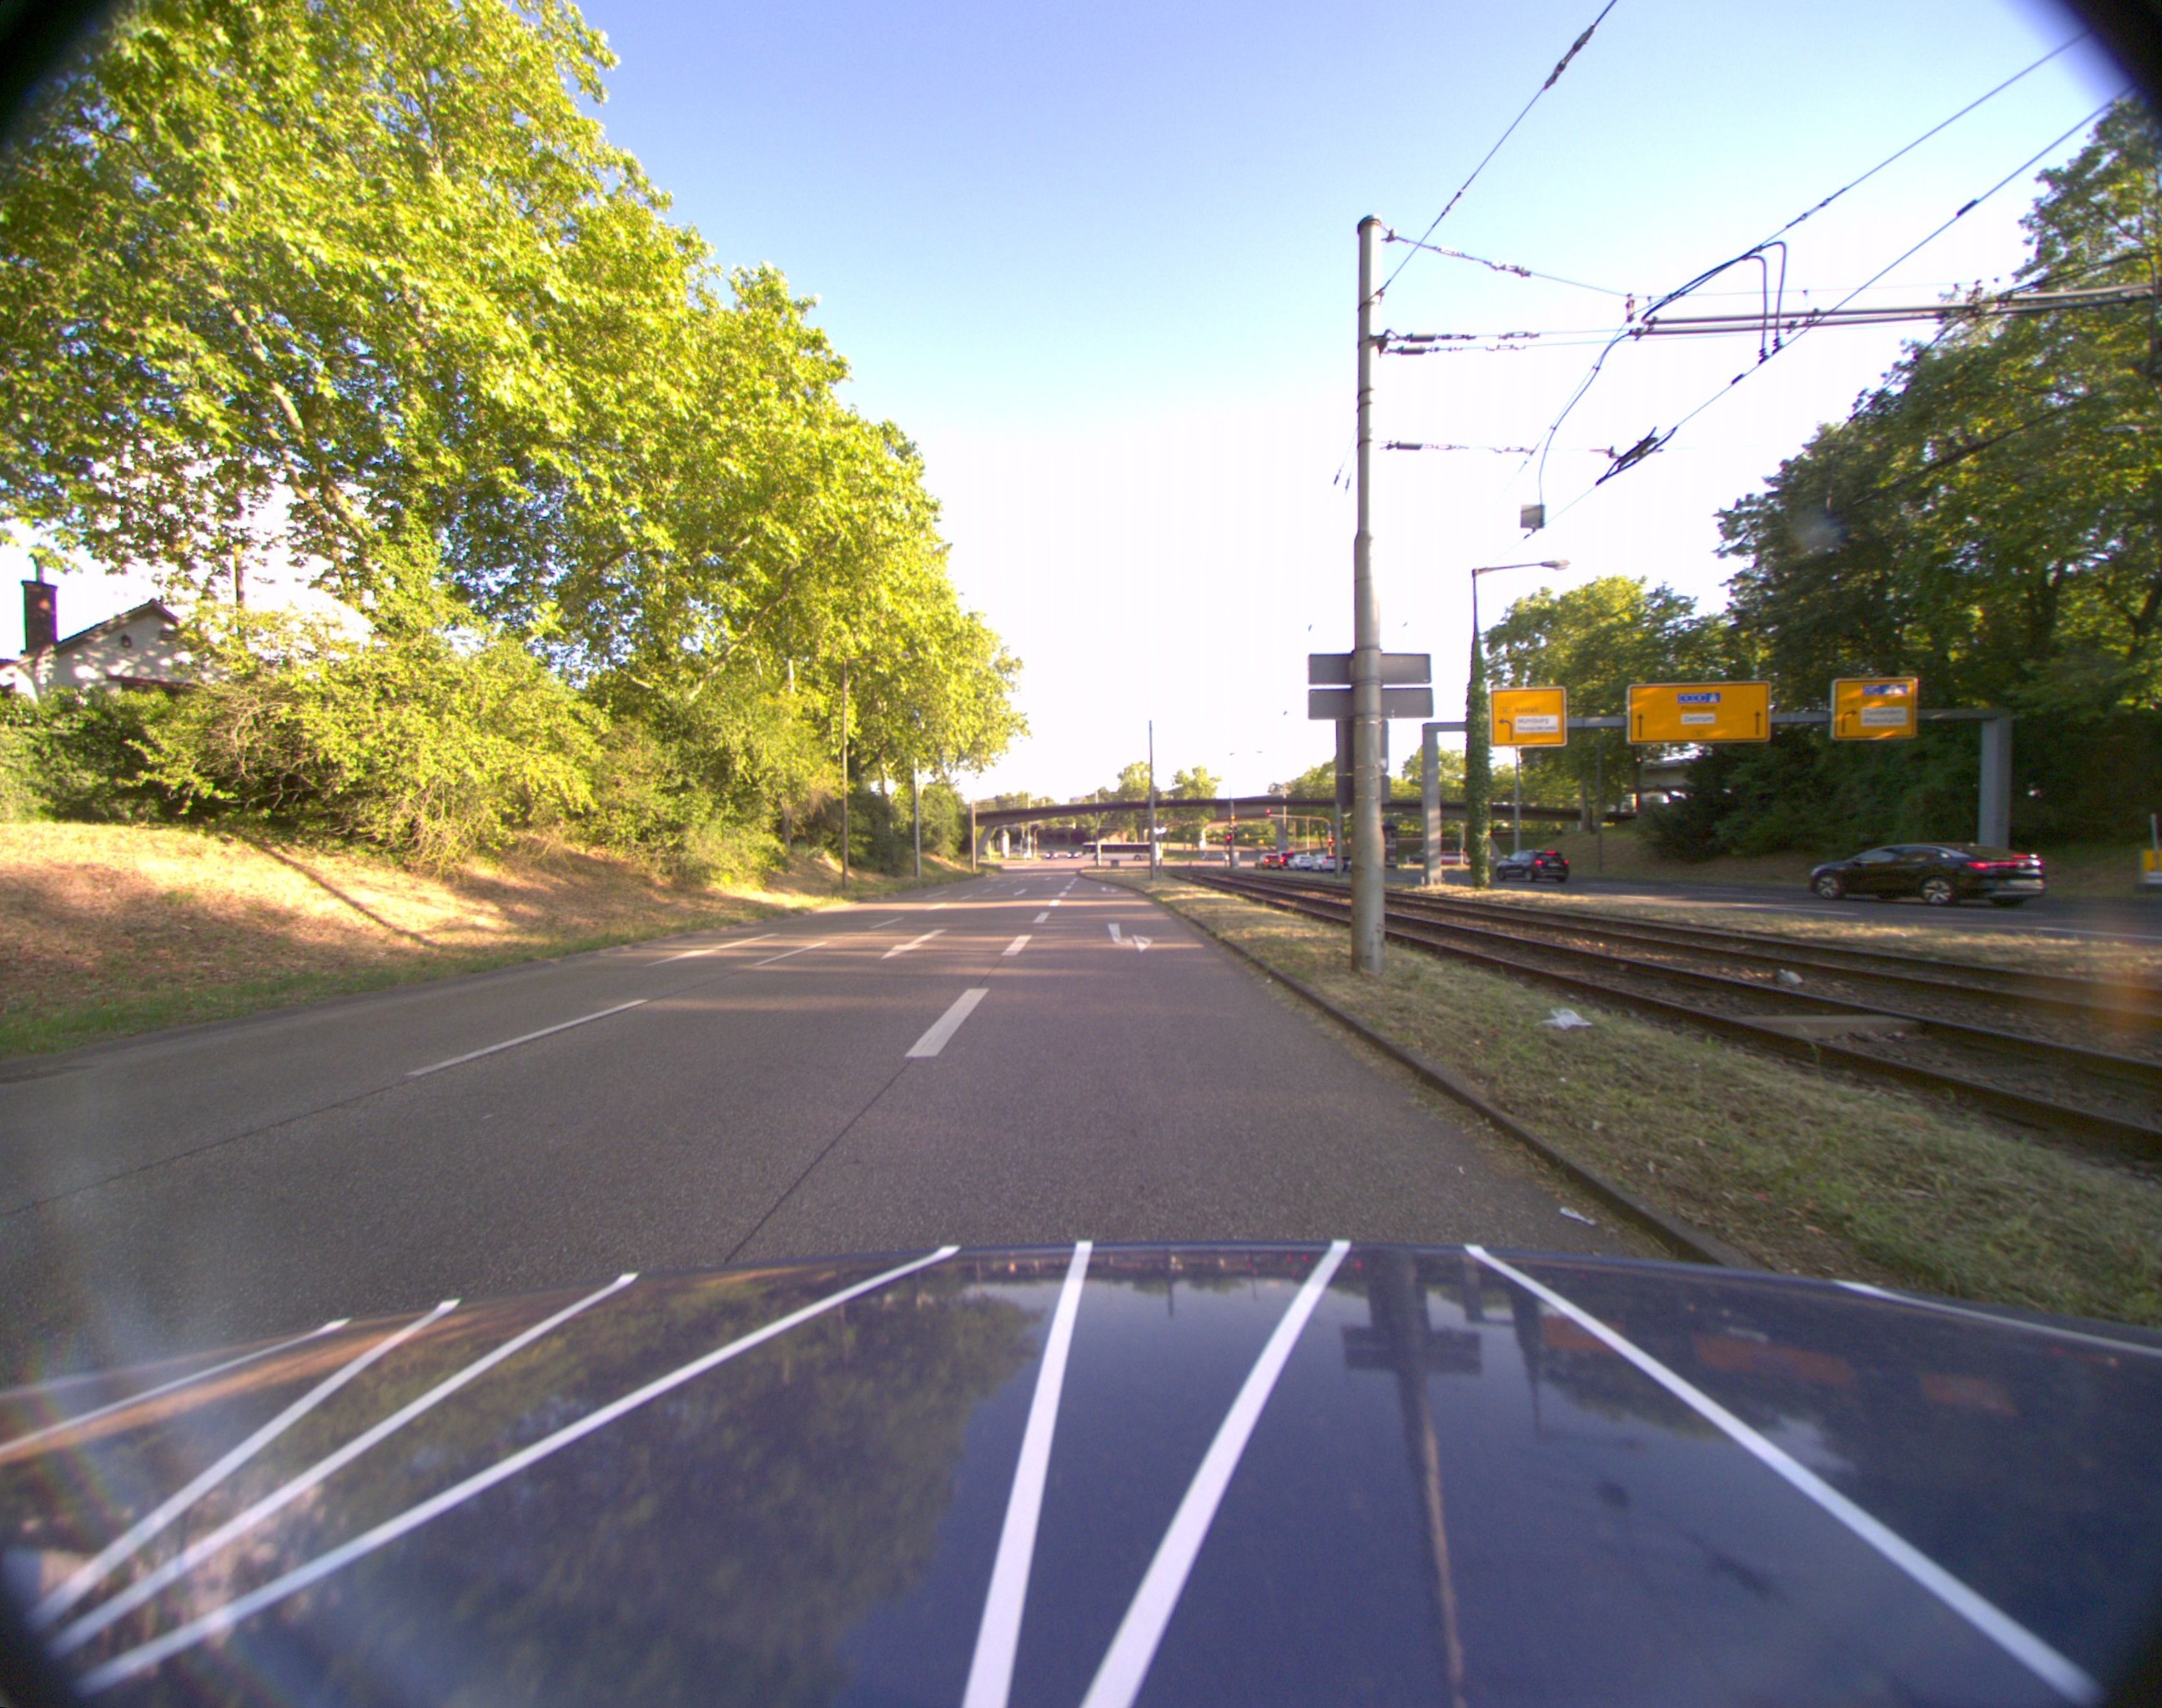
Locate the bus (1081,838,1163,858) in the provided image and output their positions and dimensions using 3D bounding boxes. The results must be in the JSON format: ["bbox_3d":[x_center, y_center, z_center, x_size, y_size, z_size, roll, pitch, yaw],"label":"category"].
[{"bbox_3d":[6.575,-1.008,124.051,13.164,2.846,2.420,-2,1,20],"label":"bus"}]

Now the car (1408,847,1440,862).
[{"bbox_3d":[46.969,0.039,104.209,3.805,1.848,1.679,-2,1,20],"label":"car"}]

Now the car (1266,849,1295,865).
[{"bbox_3d":[19.579,0.255,74.745,1.917,1.540,4.227,-1,0,4],"label":"car"}]

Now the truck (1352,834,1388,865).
[{"bbox_3d":[28.380,-0.448,74.803,2.281,2.862,6.886,-1,0,13],"label":"truck"}]

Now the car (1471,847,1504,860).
[{"bbox_3d":[54.069,-0.050,101.096,3.804,1.570,1.679,-2,1,24],"label":"car"}]

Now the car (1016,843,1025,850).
[{"bbox_3d":[-15.651,-1.855,197.497,1.684,1.779,3.866,-2,0,-13],"label":"car"}]

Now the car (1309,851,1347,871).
[{"bbox_3d":[20.025,0.534,61.809,1.767,1.535,4.000,-1,0,0],"label":"car"}]

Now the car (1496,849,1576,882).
[{"bbox_3d":[22.443,0.536,37.649,1.755,1.548,3.974,0,0,4],"label":"car"}]

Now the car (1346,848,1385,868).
[{"bbox_3d":[23.963,0.319,64.075,1.813,1.535,4.000,-1,0,1],"label":"car"}]

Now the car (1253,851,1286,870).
[{"bbox_3d":[16.145,0.499,65.240,1.767,1.535,4.000,-1,0,0],"label":"car"}]

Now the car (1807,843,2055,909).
[{"bbox_3d":[22.059,0.503,20.043,1.735,1.536,4.334,-1,0,1],"label":"car"}]

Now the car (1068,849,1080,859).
[{"bbox_3d":[-1.261,0.012,141.882,1.905,1.726,3.998,-2,0,-5],"label":"car"}]

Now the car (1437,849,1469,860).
[{"bbox_3d":[51.983,0.026,106.310,3.868,1.403,1.814,-2,1,20],"label":"car"}]

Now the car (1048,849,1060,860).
[{"bbox_3d":[-4.905,0.067,139.206,1.960,1.779,3.998,-2,0,-5],"label":"car"}]

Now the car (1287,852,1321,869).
[{"bbox_3d":[19.914,0.535,68.088,1.918,1.416,4.227,-1,0,2],"label":"car"}]

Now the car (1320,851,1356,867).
[{"bbox_3d":[23.736,0.462,70.213,1.868,1.416,4.226,-1,0,0],"label":"car"}]

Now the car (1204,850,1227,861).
[{"bbox_3d":[21.011,0.268,118.834,3.364,1.560,1.613,-2,0,17],"label":"car"}]
